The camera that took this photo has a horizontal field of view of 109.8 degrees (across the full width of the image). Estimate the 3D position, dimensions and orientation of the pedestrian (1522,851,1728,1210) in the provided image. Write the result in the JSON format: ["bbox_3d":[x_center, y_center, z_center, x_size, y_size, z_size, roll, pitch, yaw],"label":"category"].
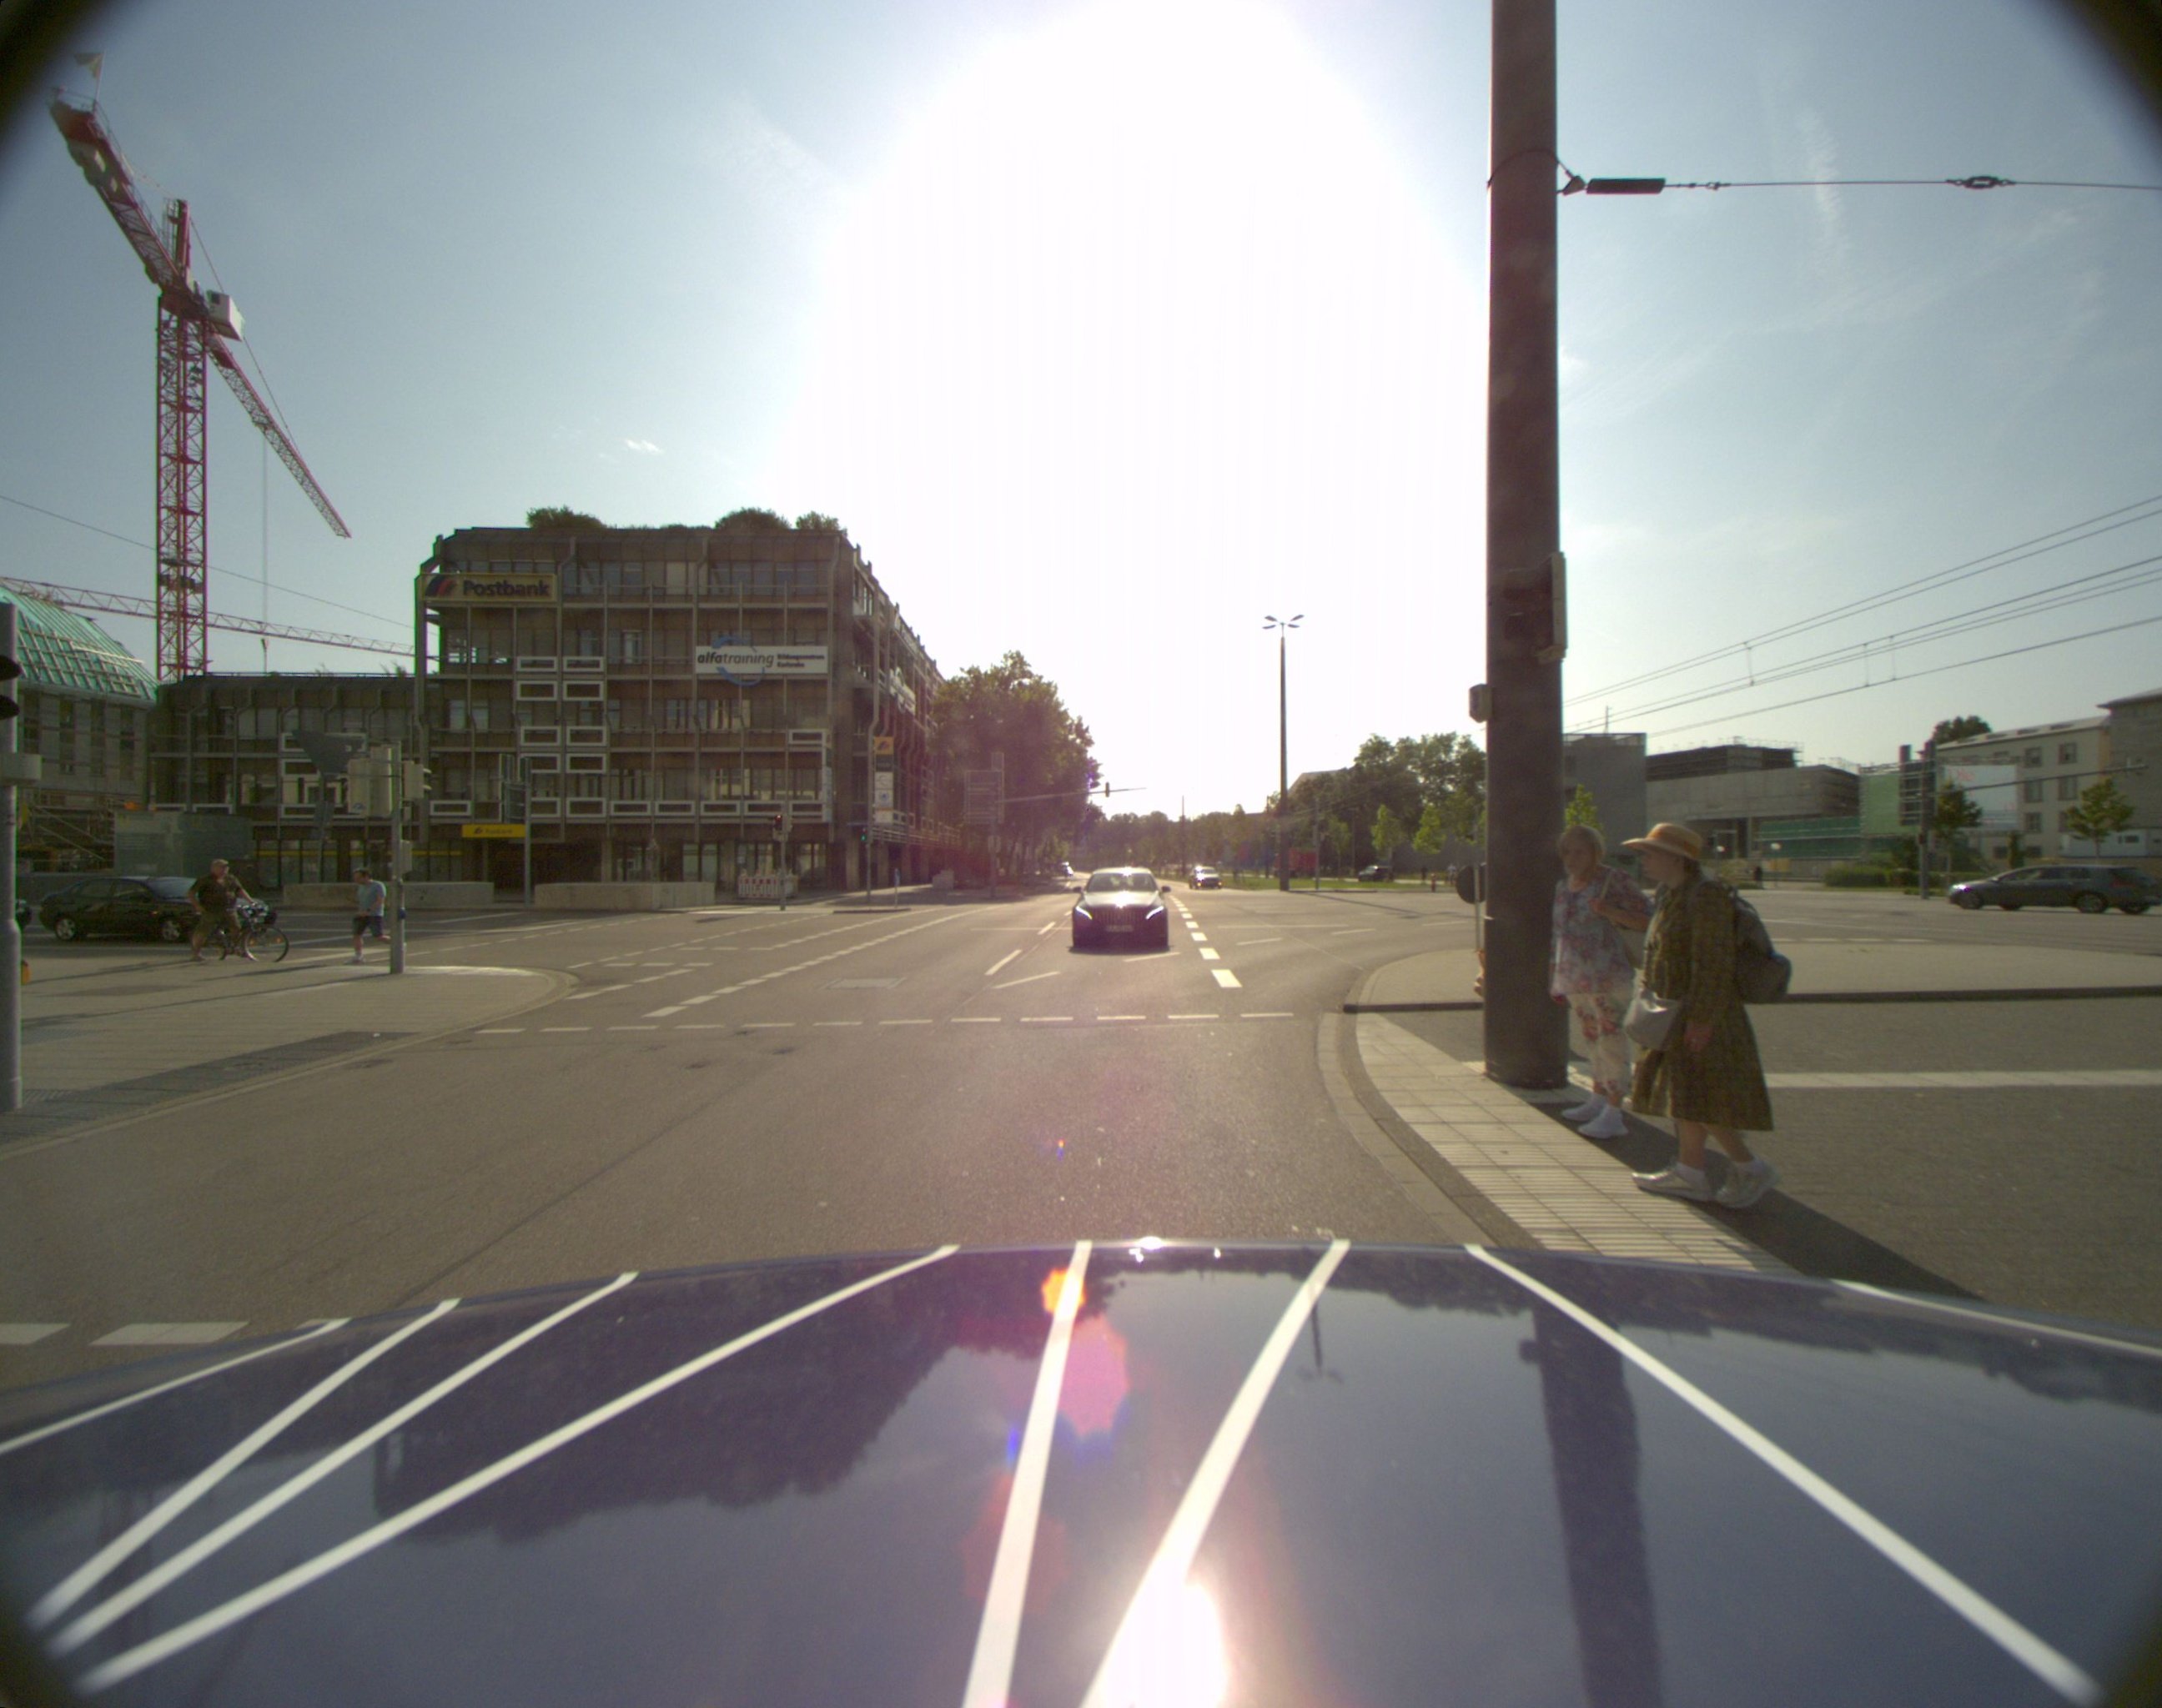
[{"bbox_3d":[2.723,0.815,3.876,0.468,1.640,0.777,-1,0,0],"label":"pedestrian"}]

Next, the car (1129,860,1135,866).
[{"bbox_3d":[17.248,3.014,255.428,1.756,1.968,3.772,0,-1,0],"label":"car"}]

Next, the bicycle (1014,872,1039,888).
[{"bbox_3d":[-4.125,1.966,57.987,1.831,1.181,0.537,1,0,5],"label":"bicycle"}]

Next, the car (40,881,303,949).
[{"bbox_3d":[-20.526,1.341,17.256,3.901,1.358,1.878,0,0,4],"label":"car"}]

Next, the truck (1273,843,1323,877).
[{"bbox_3d":[25.496,0.741,89.821,2.979,3.786,10.424,0,-1,1],"label":"truck"}]

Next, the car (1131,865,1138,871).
[{"bbox_3d":[16.015,4.132,227.540,1.998,1.523,4.000,-2,0,0],"label":"car"}]

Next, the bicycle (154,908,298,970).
[{"bbox_3d":[-14.850,1.471,13.218,1.806,1.011,0.612,0,0,0],"label":"bicycle"}]

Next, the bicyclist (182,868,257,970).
[{"bbox_3d":[-14.978,1.113,13.227,0.636,1.727,0.582,0,0,0],"label":"bicyclist"}]

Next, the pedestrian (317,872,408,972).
[{"bbox_3d":[-12.782,1.185,13.551,0.644,1.701,0.990,0,0,8],"label":"pedestrian"}]

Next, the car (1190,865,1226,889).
[{"bbox_3d":[8.234,1.460,49.724,1.708,1.424,3.870,-3,-1,1],"label":"car"}]

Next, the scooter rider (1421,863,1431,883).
[{"bbox_3d":[28.875,1.597,63.546,0.538,1.687,0.549,0,0,-5],"label":"scooter rider"}]

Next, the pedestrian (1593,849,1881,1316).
[{"bbox_3d":[2.576,0.810,3.071,0.468,1.640,0.777,-1,0,0],"label":"pedestrian"}]

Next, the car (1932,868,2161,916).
[{"bbox_3d":[29.435,1.092,23.265,1.600,1.339,4.422,0,-1,-6],"label":"car"}]

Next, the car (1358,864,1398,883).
[{"bbox_3d":[25.341,1.661,64.952,1.644,1.592,3.999,0,-1,-4],"label":"car"}]

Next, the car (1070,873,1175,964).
[{"bbox_3d":[0.796,1.131,15.156,1.716,1.429,5.058,-1,-1,2],"label":"car"}]

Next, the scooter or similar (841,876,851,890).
[{"bbox_3d":[-14.347,1.792,46.393,0.279,0.838,0.959,0,-1,0],"label":"scooter or similar"}]

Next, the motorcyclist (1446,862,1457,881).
[{"bbox_3d":[28.578,1.354,58.643,0.392,1.519,0.861,0,-1,-7],"label":"motorcyclist"}]

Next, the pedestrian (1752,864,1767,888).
[{"bbox_3d":[47.081,1.514,52.724,0.606,1.687,0.538,0,0,4],"label":"pedestrian"}]

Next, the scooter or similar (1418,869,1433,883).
[{"bbox_3d":[28.853,1.849,63.616,0.540,1.140,1.383,0,-1,-6],"label":"scooter or similar"}]

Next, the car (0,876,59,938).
[{"bbox_3d":[-26.633,1.242,17.506,3.909,1.394,1.880,-1,0,4],"label":"car"}]

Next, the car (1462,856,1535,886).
[{"bbox_3d":[26.227,1.034,47.943,1.621,1.778,4.515,0,-1,-9],"label":"car"}]

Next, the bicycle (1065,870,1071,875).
[{"bbox_3d":[-1.825,2.598,107.934,0.630,0.702,1.808,0,-1,-9],"label":"bicycle"}]

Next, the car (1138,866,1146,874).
[{"bbox_3d":[16.955,4.407,212.017,1.999,2.002,4.000,-2,0,0],"label":"car"}]

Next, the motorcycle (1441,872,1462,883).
[{"bbox_3d":[28.587,1.827,58.642,0.520,0.828,1.821,0,-1,-7],"label":"motorcycle"}]

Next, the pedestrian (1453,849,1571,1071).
[{"bbox_3d":[3.397,0.793,6.042,0.468,1.640,0.777,-1,0,0],"label":"pedestrian"}]

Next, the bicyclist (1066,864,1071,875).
[{"bbox_3d":[-1.830,2.186,108.063,0.612,1.504,0.813,0,0,-10],"label":"bicyclist"}]
